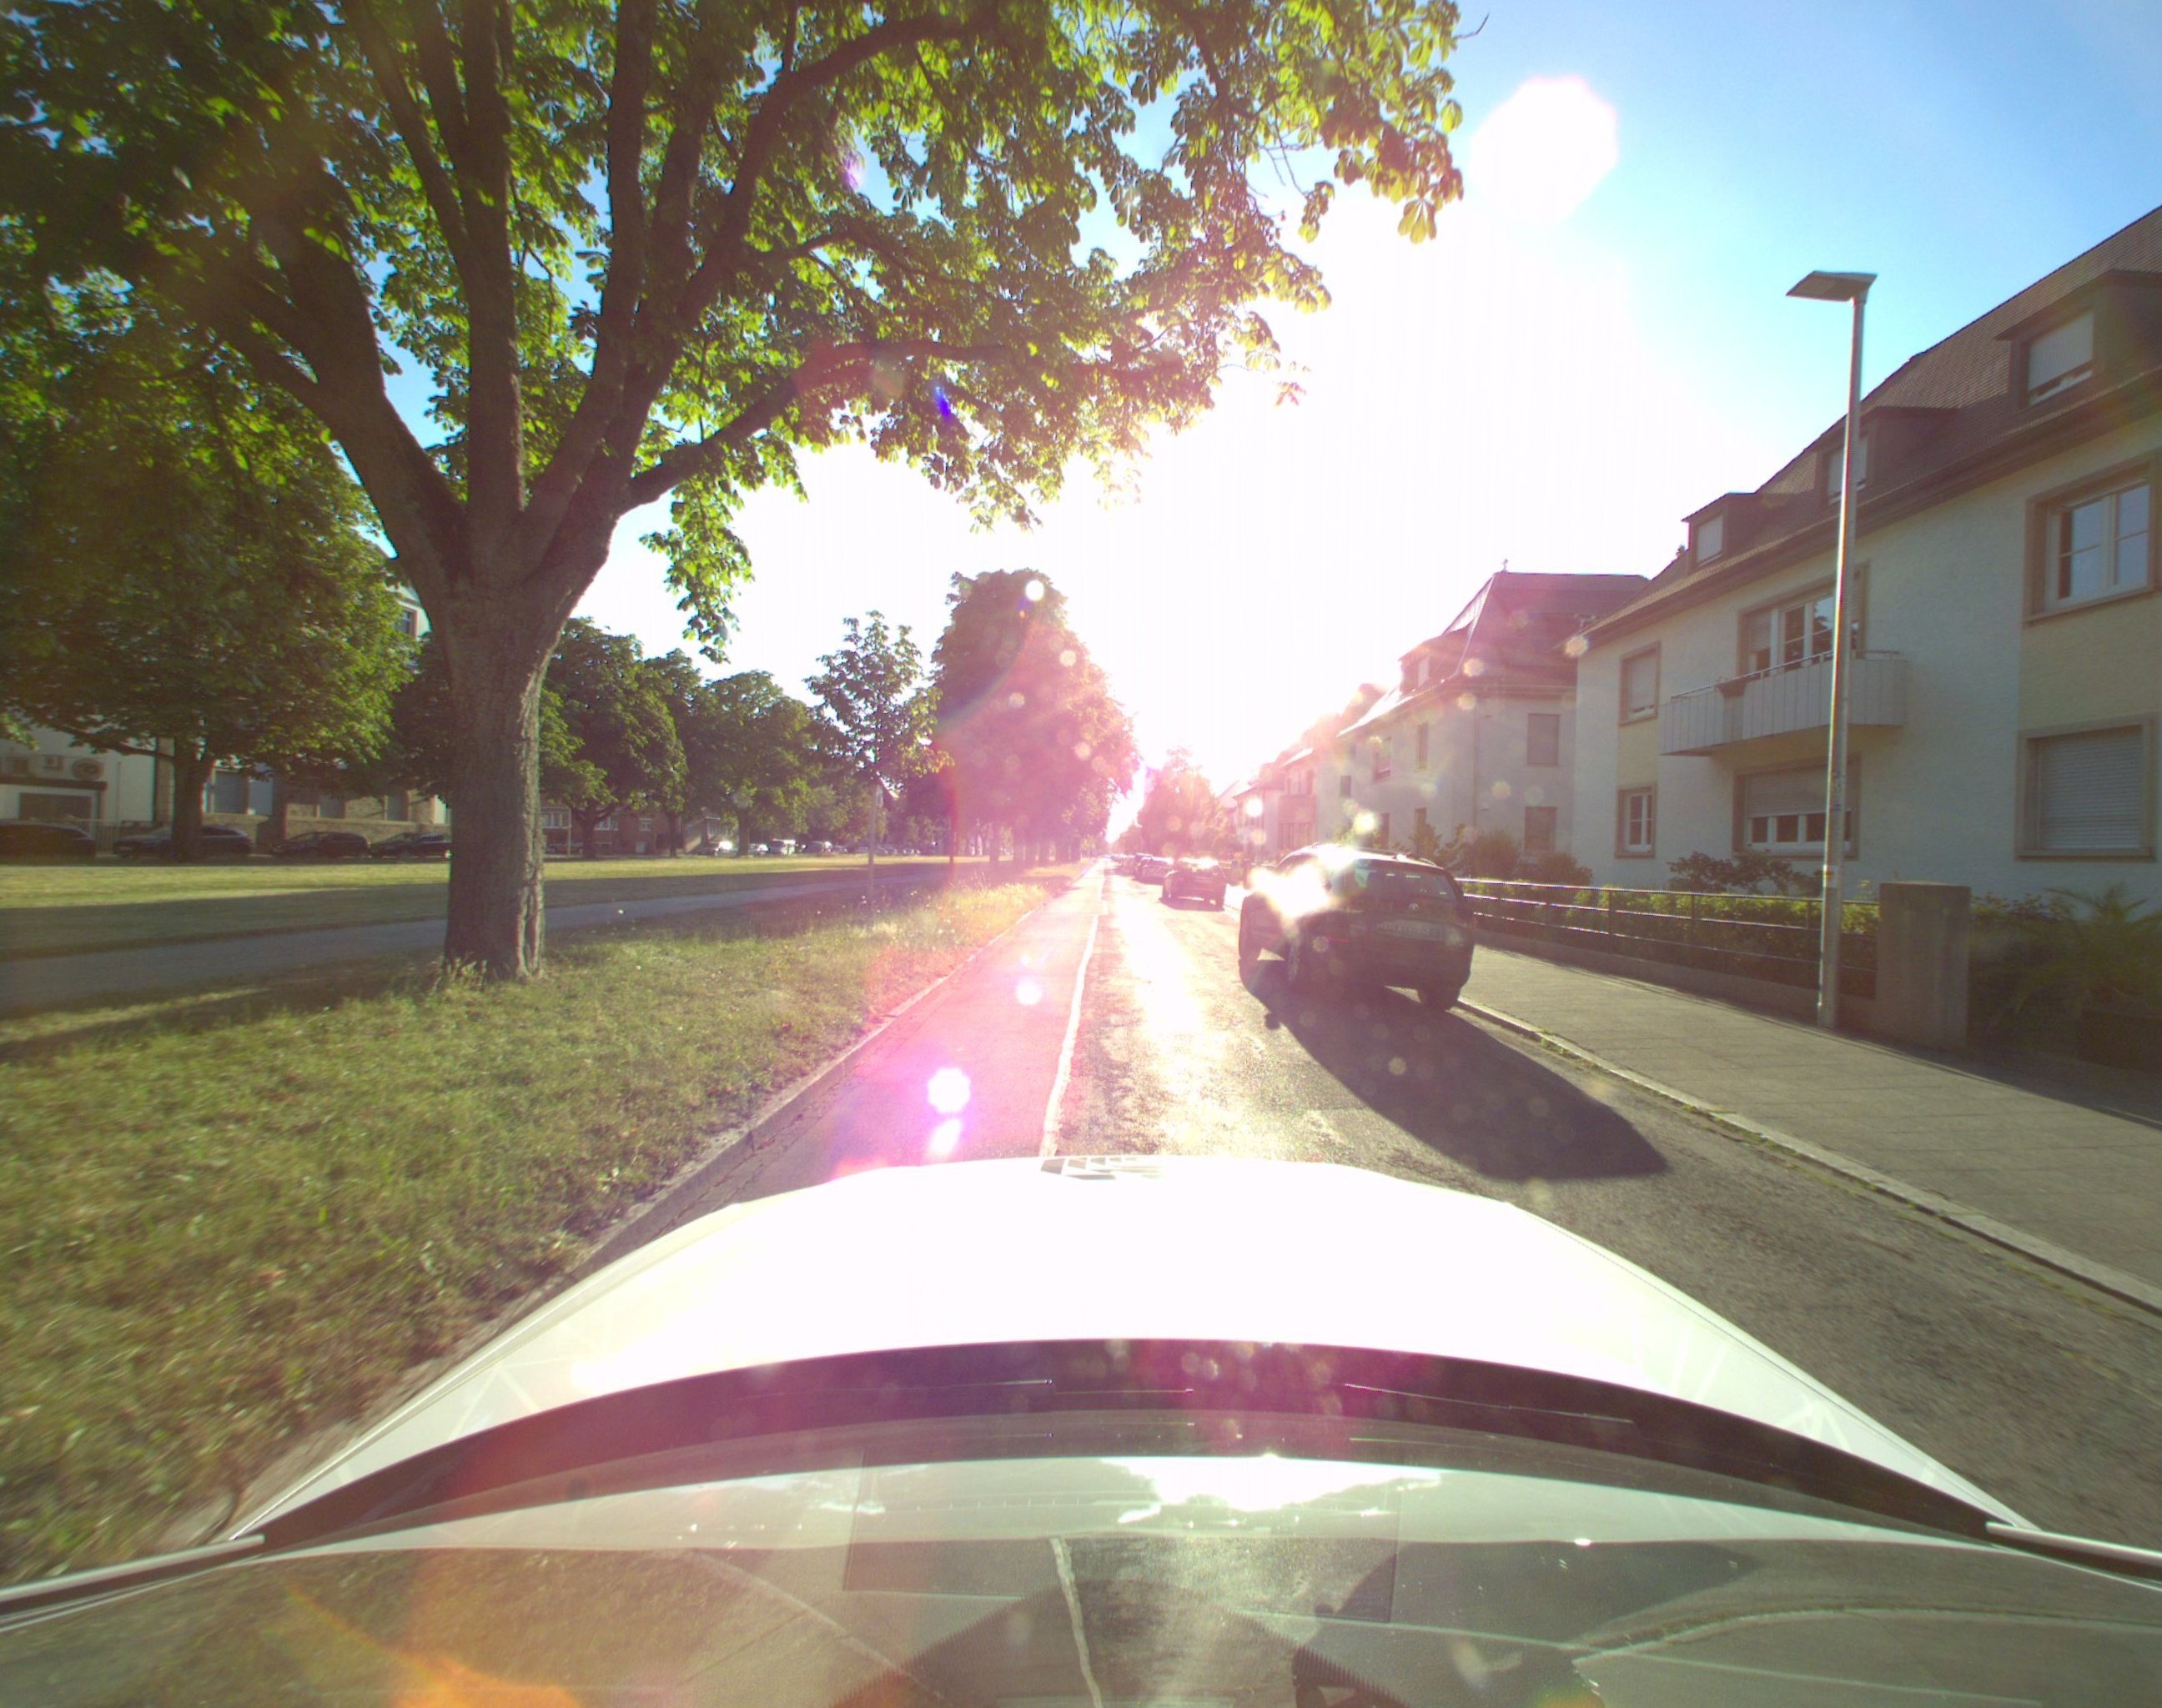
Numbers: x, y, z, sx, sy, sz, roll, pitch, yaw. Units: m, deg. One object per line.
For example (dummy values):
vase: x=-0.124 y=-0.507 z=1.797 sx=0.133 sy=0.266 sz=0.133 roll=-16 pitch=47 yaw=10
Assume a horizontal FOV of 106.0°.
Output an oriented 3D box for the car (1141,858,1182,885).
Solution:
car: x=4.706 y=1.001 z=48.187 sx=1.987 sy=1.464 sz=4.551 roll=2 pitch=0 yaw=1

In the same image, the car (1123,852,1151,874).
car: x=4.660 y=0.728 z=68.270 sx=1.987 sy=1.737 sz=4.864 roll=2 pitch=0 yaw=0

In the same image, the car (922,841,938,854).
car: x=-34.138 y=-1.447 z=184.482 sx=2.428 sy=2.922 sz=5.820 roll=0 pitch=-1 yaw=2

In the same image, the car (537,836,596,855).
car: x=-45.364 y=-0.737 z=71.832 sx=3.971 sy=1.486 sz=1.866 roll=2 pitch=0 yaw=2

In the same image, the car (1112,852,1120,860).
car: x=7.970 y=0.460 z=184.621 sx=1.753 sy=1.605 sz=4.359 roll=2 pitch=0 yaw=0

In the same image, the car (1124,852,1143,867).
car: x=5.683 y=0.618 z=87.933 sx=1.787 sy=1.492 sz=4.675 roll=2 pitch=0 yaw=1

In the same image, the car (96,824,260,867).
car: x=-38.487 y=-0.332 z=34.897 sx=1.987 sy=1.652 sz=4.429 roll=2 pitch=0 yaw=0

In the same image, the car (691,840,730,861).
car: x=-36.702 y=-0.397 z=80.824 sx=1.750 sy=2.013 sz=4.371 roll=1 pitch=1 yaw=2

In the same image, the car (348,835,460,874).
car: x=-38.183 y=0.013 z=46.118 sx=1.985 sy=2.013 sz=4.880 roll=2 pitch=0 yaw=3

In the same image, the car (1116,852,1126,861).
car: x=8.023 y=0.509 z=163.924 sx=1.753 sy=1.605 sz=4.359 roll=2 pitch=0 yaw=0

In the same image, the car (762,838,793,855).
car: x=-36.455 y=-0.894 z=97.850 sx=1.809 sy=1.838 sz=4.410 roll=2 pitch=0 yaw=2

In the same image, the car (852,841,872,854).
car: x=-35.374 y=-1.102 z=131.677 sx=2.023 sy=2.014 sz=4.002 roll=0 pitch=-1 yaw=2

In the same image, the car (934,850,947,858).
car: x=-29.060 y=-0.071 z=168.283 sx=1.678 sy=1.559 sz=4.317 roll=2 pitch=0 yaw=3

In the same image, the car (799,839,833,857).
car: x=-30.946 y=-0.720 z=95.377 sx=1.985 sy=1.940 sz=5.250 roll=2 pitch=1 yaw=3

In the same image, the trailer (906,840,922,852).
trailer: x=-34.454 y=-1.644 z=167.931 sx=1.986 sy=2.428 sz=4.726 roll=2 pitch=0 yaw=2

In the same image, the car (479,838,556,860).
car: x=-45.738 y=-0.430 z=66.126 sx=4.836 sy=1.607 sz=2.001 roll=2 pitch=0 yaw=2

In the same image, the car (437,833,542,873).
car: x=-32.495 y=-0.039 z=44.962 sx=1.985 sy=2.013 sz=4.880 roll=2 pitch=0 yaw=3

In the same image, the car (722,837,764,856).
car: x=-31.358 y=-0.642 z=75.637 sx=1.812 sy=1.639 sz=4.652 roll=2 pitch=0 yaw=1

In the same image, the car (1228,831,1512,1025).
car: x=3.275 y=0.723 z=10.315 sx=1.852 sy=1.719 sz=4.467 roll=7 pitch=0 yaw=0

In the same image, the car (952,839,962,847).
car: x=-33.783 y=-3.068 z=221.957 sx=1.986 sy=2.014 sz=4.485 roll=-1 pitch=-1 yaw=1

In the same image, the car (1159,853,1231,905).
car: x=3.836 y=0.791 z=27.994 sx=1.774 sy=1.499 sz=4.397 roll=4 pitch=0 yaw=0

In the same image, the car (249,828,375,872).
car: x=-38.419 y=-0.206 z=40.863 sx=1.987 sy=2.013 sz=4.429 roll=2 pitch=0 yaw=0

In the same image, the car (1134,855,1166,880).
car: x=4.536 y=0.850 z=54.131 sx=1.773 sy=1.463 sz=4.595 roll=5 pitch=0 yaw=1

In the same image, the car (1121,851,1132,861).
car: x=7.818 y=0.367 z=140.916 sx=1.750 sy=1.419 sz=4.074 roll=8 pitch=0 yaw=2
